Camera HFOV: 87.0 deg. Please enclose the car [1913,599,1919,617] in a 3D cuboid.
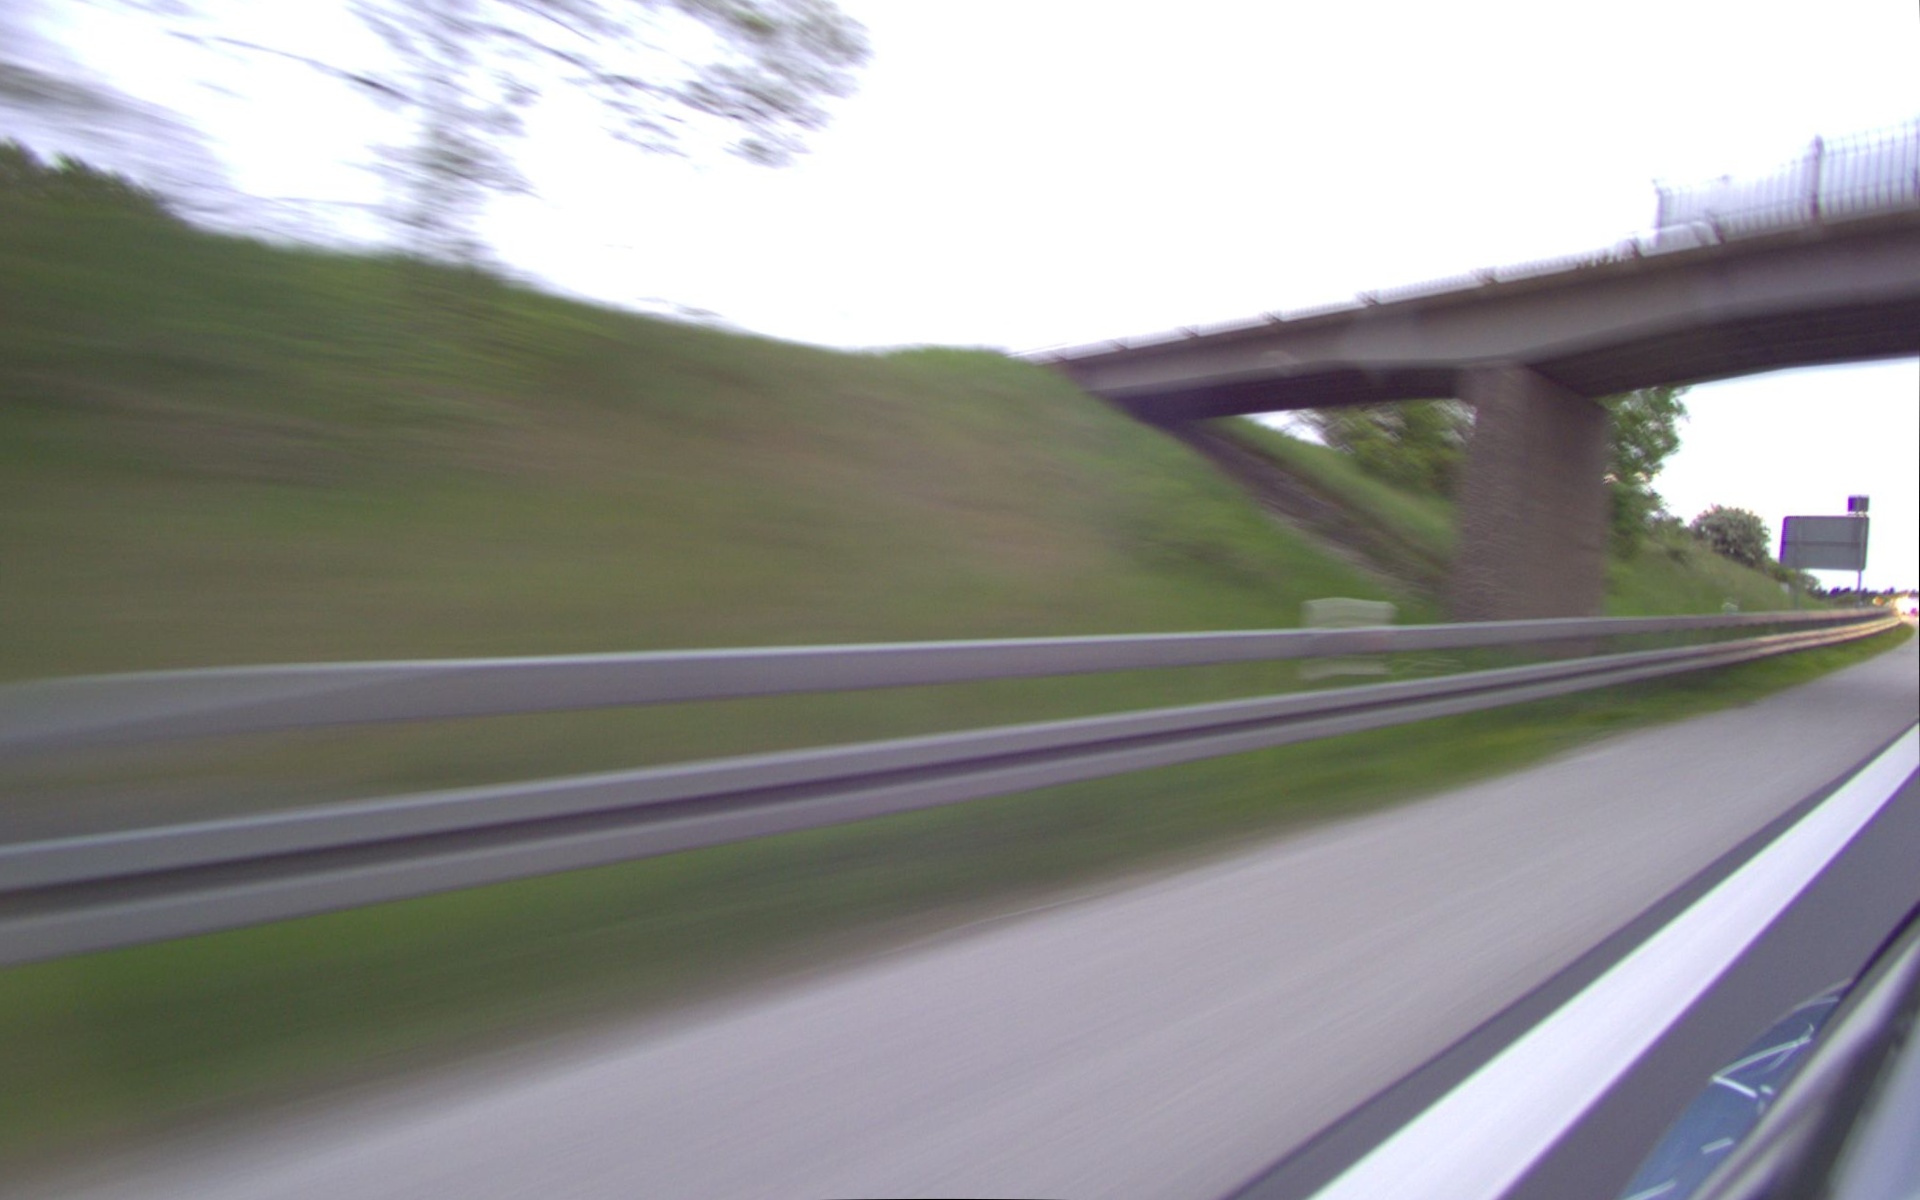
[{"bbox_3d":[104.547,0.885,109.481,1.914,1.860,3.939,3,2,42],"label":"car"}]
